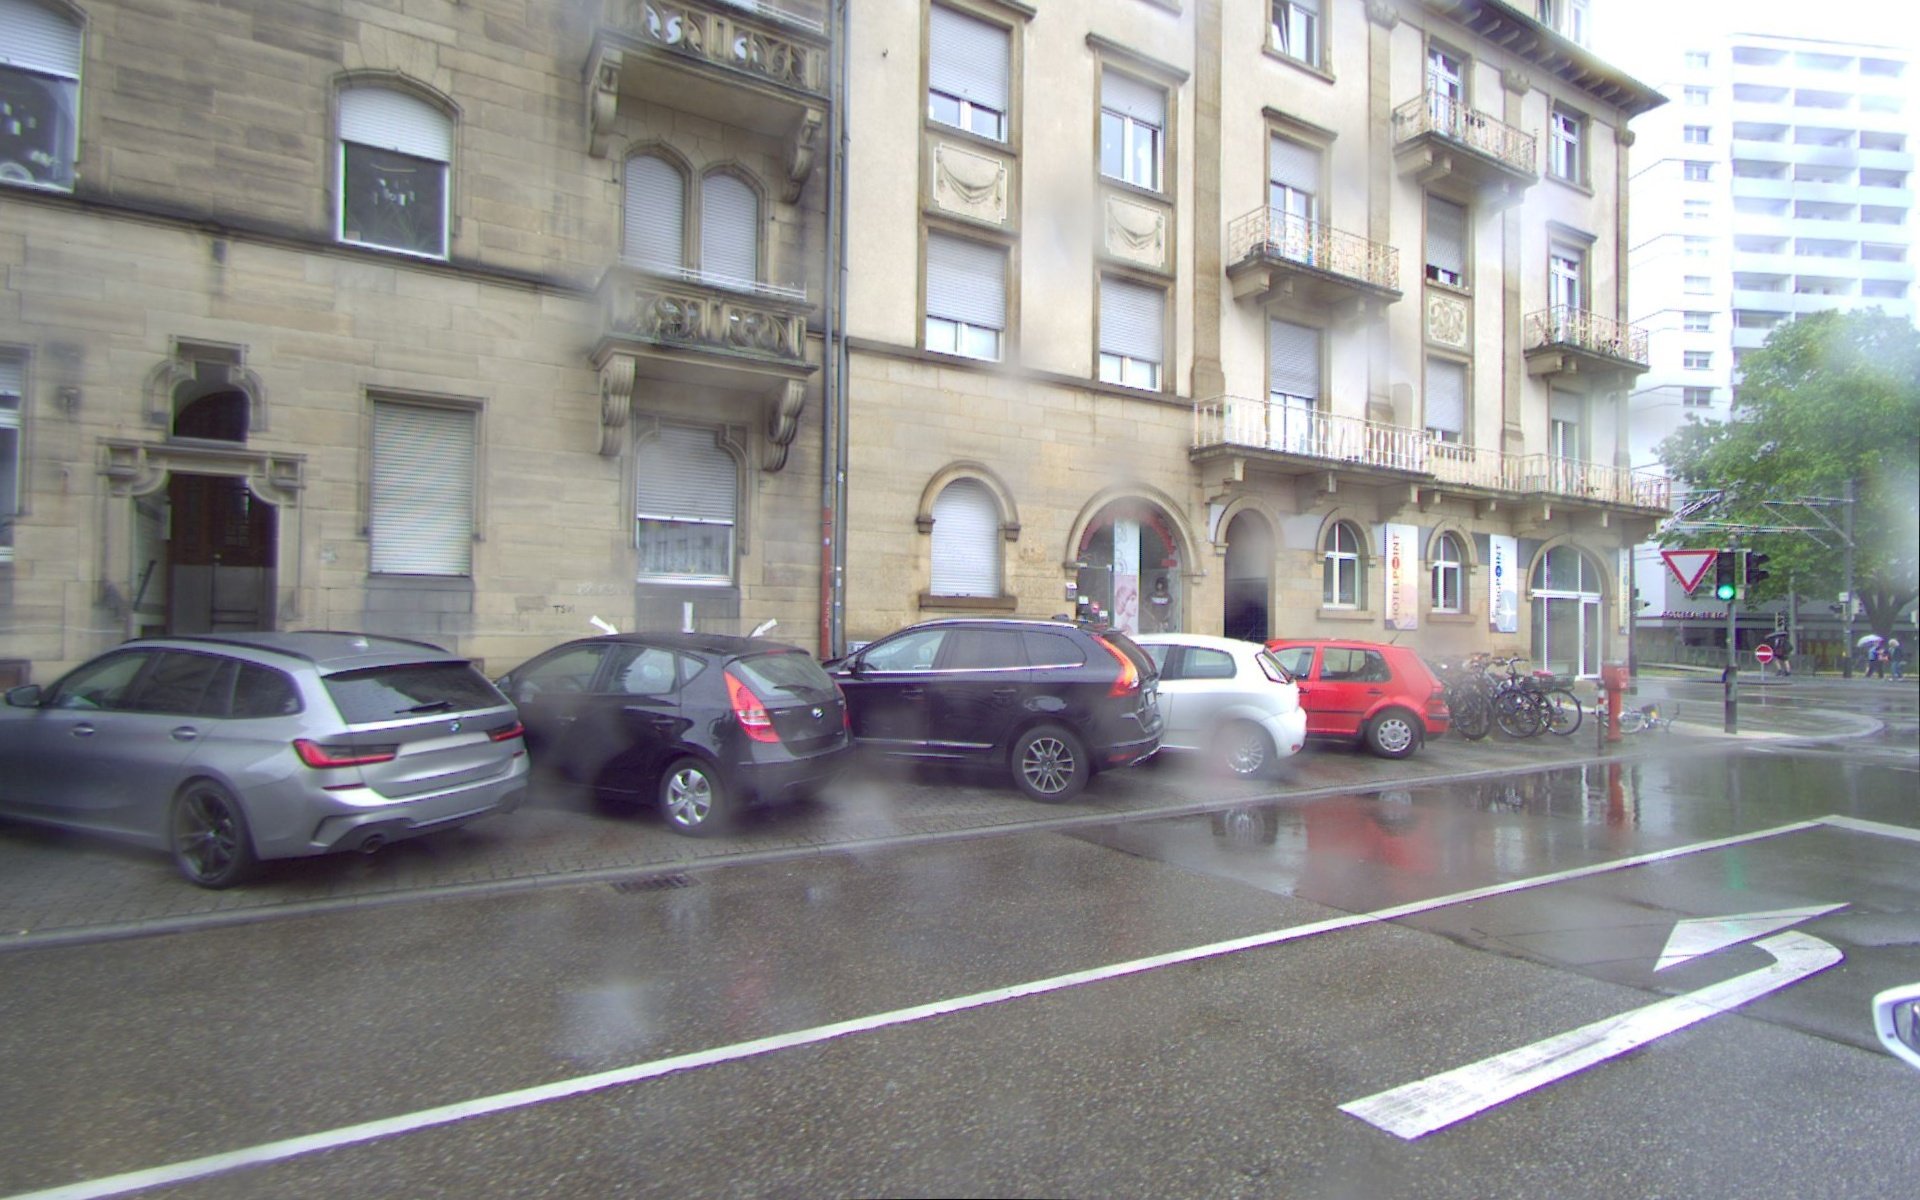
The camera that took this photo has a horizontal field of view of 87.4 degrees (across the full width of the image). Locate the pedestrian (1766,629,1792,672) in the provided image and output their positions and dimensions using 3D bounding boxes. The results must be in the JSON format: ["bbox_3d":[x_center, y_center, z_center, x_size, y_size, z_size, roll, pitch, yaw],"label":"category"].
[{"bbox_3d":[35.851,2.196,43.986,0.633,1.862,0.674,2,-3,-32],"label":"pedestrian"}]

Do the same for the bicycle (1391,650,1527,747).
[{"bbox_3d":[7.407,1.426,15.005,0.592,1.200,1.805,1,2,-24],"label":"bicycle"}]

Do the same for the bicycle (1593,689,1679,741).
[{"bbox_3d":[11.125,1.881,16.584,1.024,0.672,1.476,2,-1,29],"label":"bicycle"}]

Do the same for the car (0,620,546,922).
[{"bbox_3d":[-4.822,0.968,6.932,3.362,1.564,1.701,1,0,21],"label":"car"}]

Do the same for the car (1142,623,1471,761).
[{"bbox_3d":[4.561,1.150,13.629,3.920,1.528,1.804,2,0,16],"label":"car"}]

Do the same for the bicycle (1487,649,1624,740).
[{"bbox_3d":[9.564,1.483,16.230,0.432,1.347,1.969,1,-2,-27],"label":"bicycle"}]

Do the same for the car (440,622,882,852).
[{"bbox_3d":[-2.515,1.008,8.581,3.246,1.545,1.700,1,0,22],"label":"car"}]

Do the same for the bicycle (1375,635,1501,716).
[{"bbox_3d":[8.575,1.324,18.123,0.579,1.364,2.044,1,-2,-34],"label":"bicycle"}]

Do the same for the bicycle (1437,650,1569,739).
[{"bbox_3d":[8.531,1.452,15.862,0.463,1.200,1.800,2,1,-31],"label":"bicycle"}]

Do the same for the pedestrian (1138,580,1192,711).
[{"bbox_3d":[3.794,0.840,18.663,0.750,2.370,0.847,1,-2,-8],"label":"pedestrian"}]

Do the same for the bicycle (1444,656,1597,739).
[{"bbox_3d":[9.942,1.690,17.917,0.634,1.364,2.326,1,-3,-34],"label":"bicycle"}]

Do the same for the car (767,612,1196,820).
[{"bbox_3d":[0.242,1.030,10.270,4.005,1.714,1.764,1,0,21],"label":"car"}]

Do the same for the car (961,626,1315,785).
[{"bbox_3d":[2.149,1.142,12.053,3.916,1.554,1.704,1,0,21],"label":"car"}]

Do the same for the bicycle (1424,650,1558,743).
[{"bbox_3d":[8.145,1.451,15.499,0.469,1.200,1.800,2,2,-31],"label":"bicycle"}]

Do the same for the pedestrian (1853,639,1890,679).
[{"bbox_3d":[38.452,2.482,42.383,0.803,1.670,0.792,1,-3,-15],"label":"pedestrian"}]

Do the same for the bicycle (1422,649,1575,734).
[{"bbox_3d":[9.365,1.547,17.582,0.634,1.364,2.326,1,-2,-34],"label":"bicycle"}]

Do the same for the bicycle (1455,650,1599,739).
[{"bbox_3d":[9.015,1.470,16.058,0.470,1.200,1.968,2,1,-32],"label":"bicycle"}]

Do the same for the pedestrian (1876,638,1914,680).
[{"bbox_3d":[37.904,2.402,40.733,0.743,1.670,0.835,1,-3,-14],"label":"pedestrian"}]
